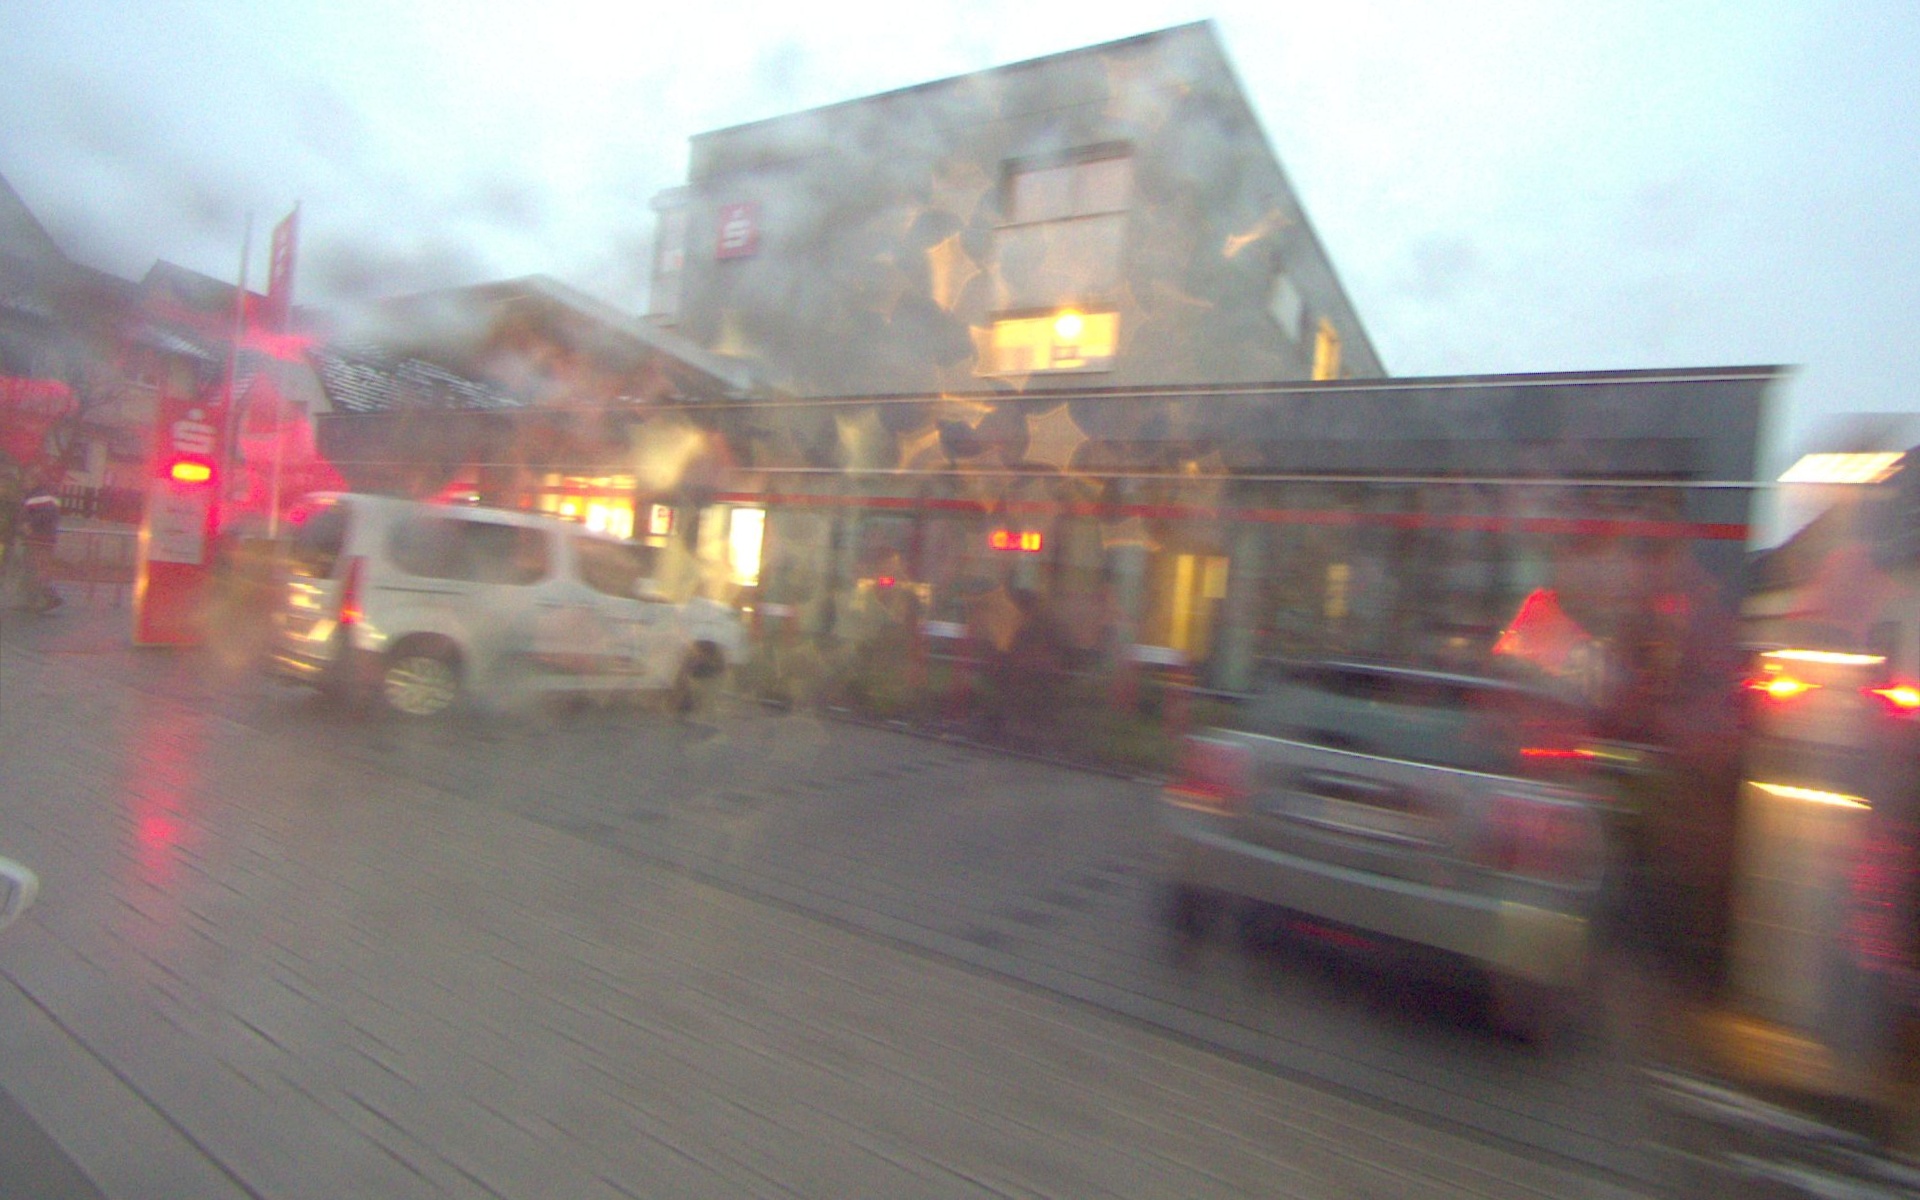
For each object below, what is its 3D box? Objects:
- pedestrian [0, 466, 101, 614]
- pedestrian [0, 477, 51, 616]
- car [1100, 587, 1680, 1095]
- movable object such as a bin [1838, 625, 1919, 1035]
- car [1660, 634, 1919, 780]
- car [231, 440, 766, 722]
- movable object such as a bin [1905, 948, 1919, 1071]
[{"bbox_3d":[-11.489,-0.740,12.595,0.898,1.727,0.705,6,1,24],"label":"pedestrian"},{"bbox_3d":[-12.371,-0.714,12.891,0.836,1.727,0.832,5,1,-32],"label":"pedestrian"},{"bbox_3d":[2.507,0.905,5.409,1.882,1.504,3.990,5,-1,33],"label":"car"},{"bbox_3d":[4.621,0.990,4.073,1.164,1.666,1.287,7,2,27],"label":"movable object such as a bin"},{"bbox_3d":[12.185,1.441,15.045,1.964,1.696,3.994,4,0,24],"label":"car"},{"bbox_3d":[-4.152,-0.097,9.602,1.970,2.076,4.086,6,1,38],"label":"car"},{"bbox_3d":[3.919,0.950,2.901,1.239,1.665,1.395,7,2,27],"label":"movable object such as a bin"}]
